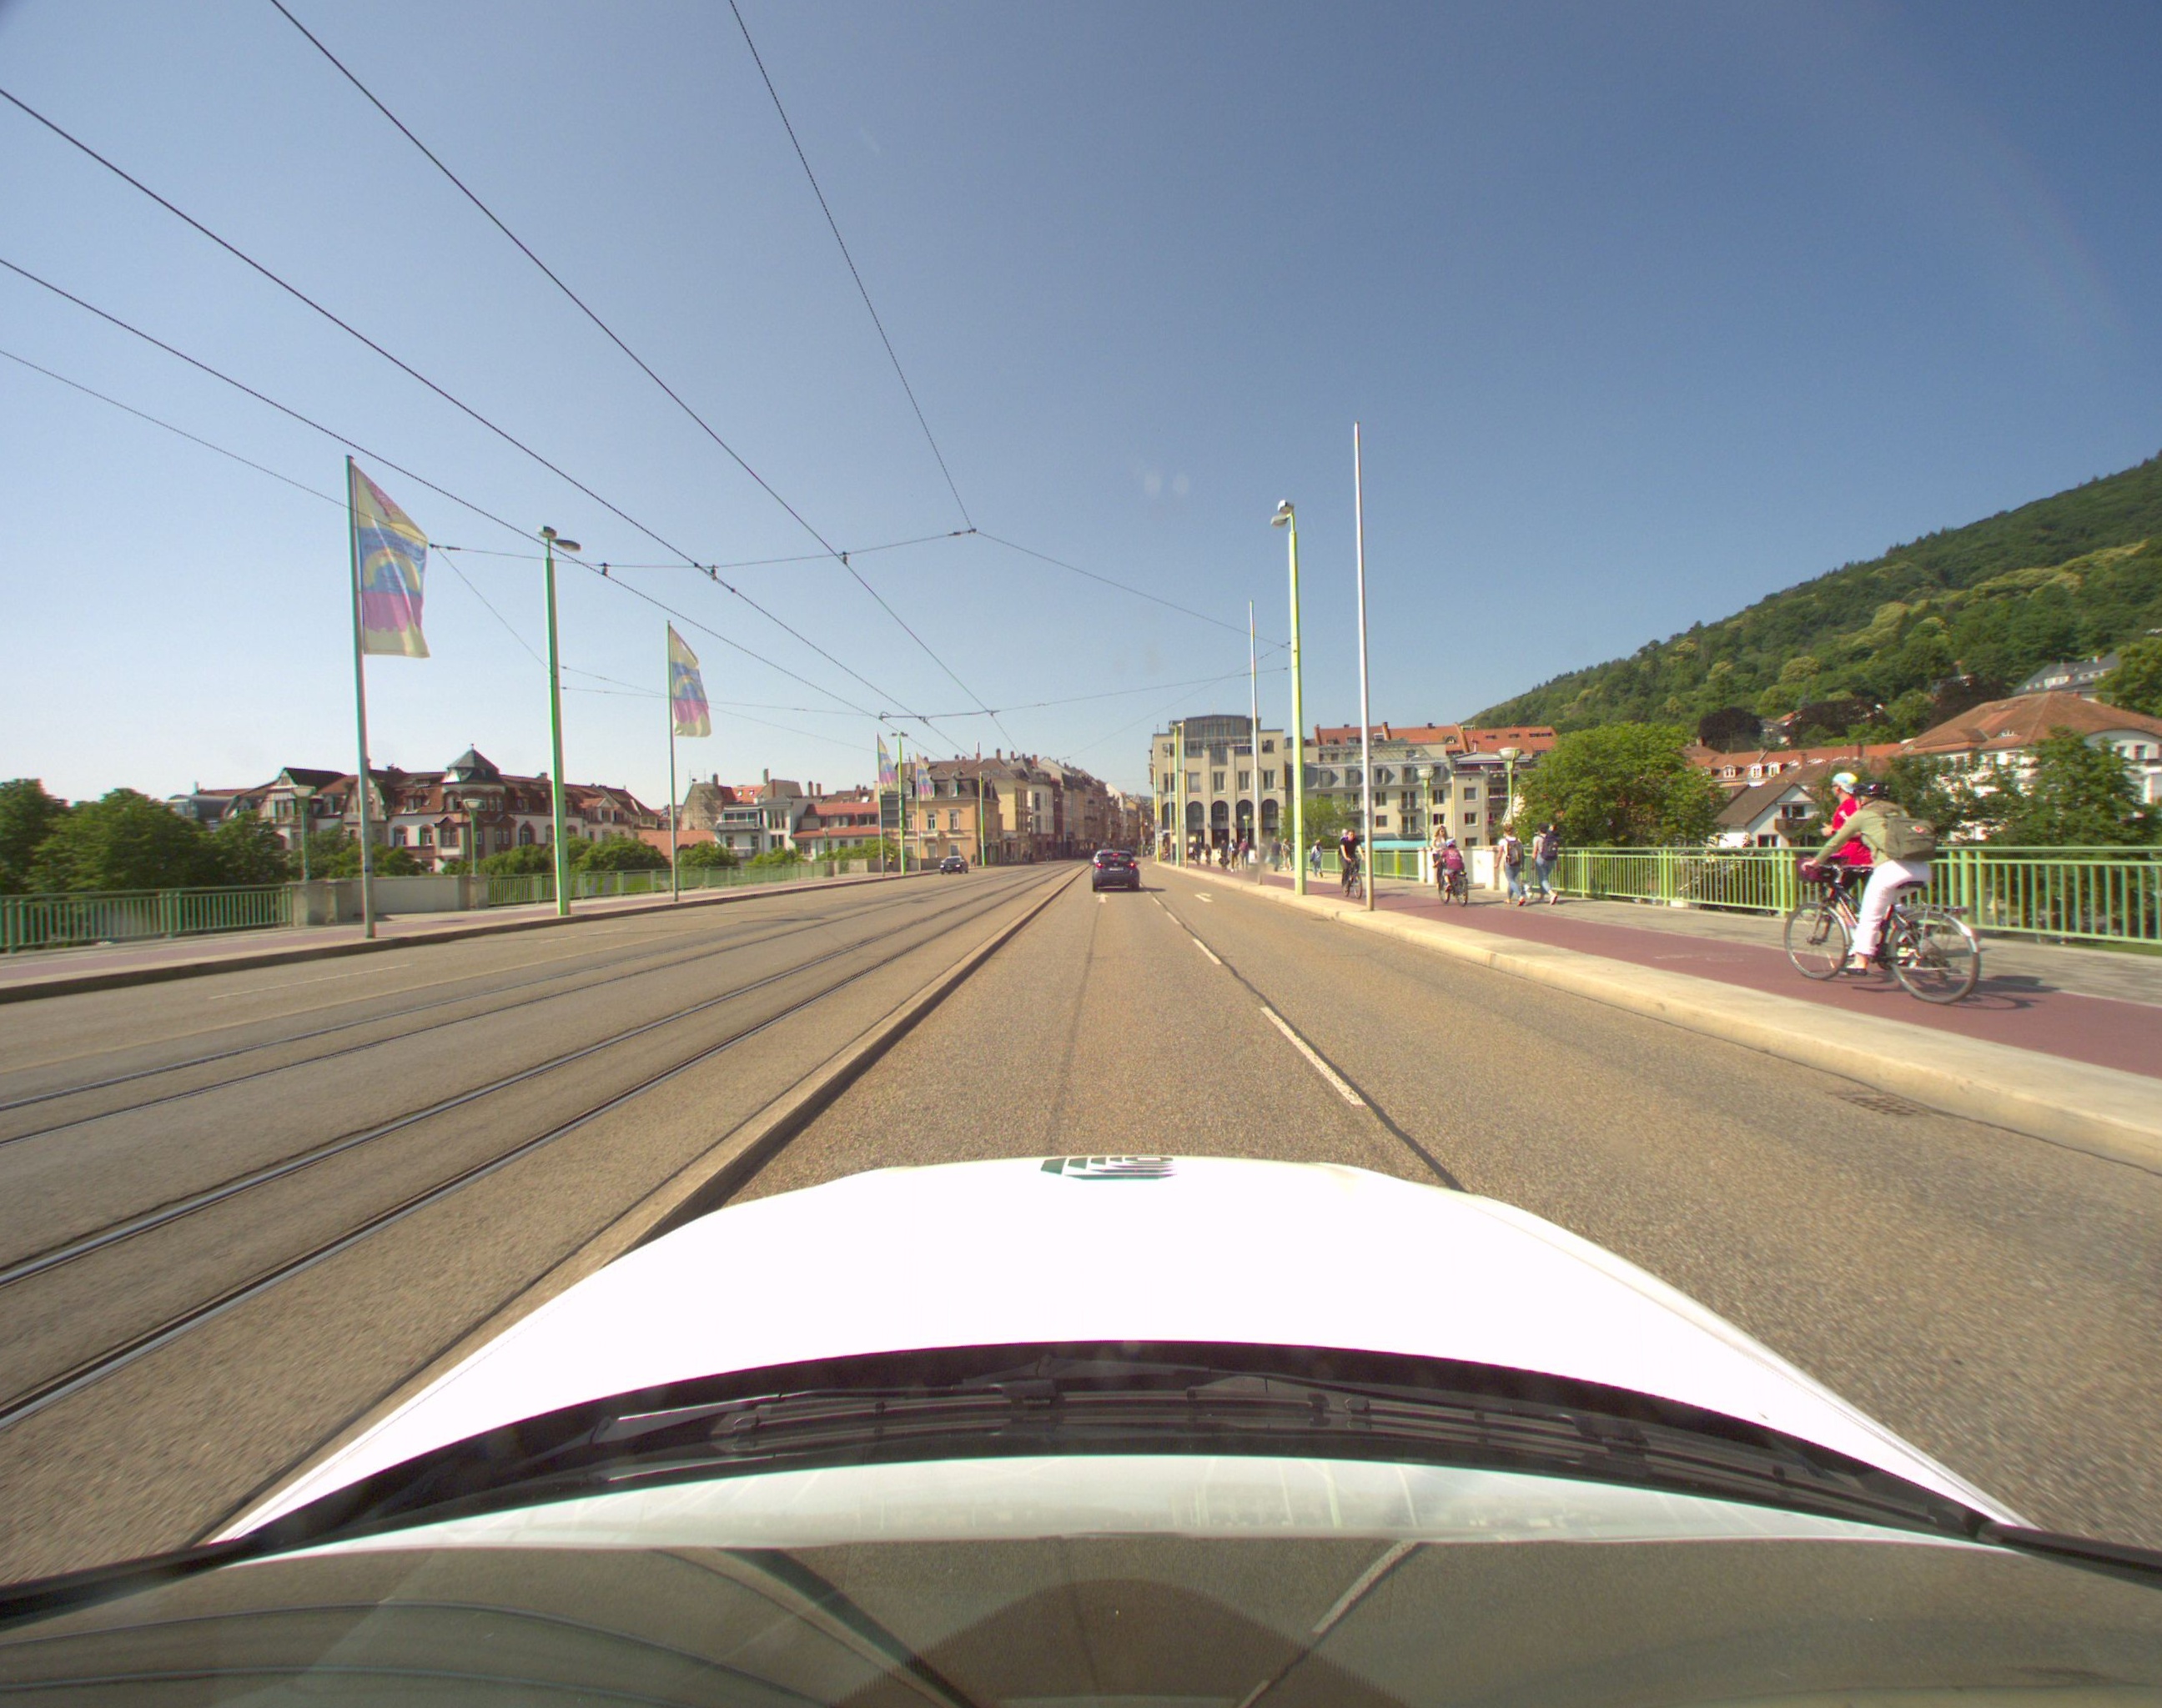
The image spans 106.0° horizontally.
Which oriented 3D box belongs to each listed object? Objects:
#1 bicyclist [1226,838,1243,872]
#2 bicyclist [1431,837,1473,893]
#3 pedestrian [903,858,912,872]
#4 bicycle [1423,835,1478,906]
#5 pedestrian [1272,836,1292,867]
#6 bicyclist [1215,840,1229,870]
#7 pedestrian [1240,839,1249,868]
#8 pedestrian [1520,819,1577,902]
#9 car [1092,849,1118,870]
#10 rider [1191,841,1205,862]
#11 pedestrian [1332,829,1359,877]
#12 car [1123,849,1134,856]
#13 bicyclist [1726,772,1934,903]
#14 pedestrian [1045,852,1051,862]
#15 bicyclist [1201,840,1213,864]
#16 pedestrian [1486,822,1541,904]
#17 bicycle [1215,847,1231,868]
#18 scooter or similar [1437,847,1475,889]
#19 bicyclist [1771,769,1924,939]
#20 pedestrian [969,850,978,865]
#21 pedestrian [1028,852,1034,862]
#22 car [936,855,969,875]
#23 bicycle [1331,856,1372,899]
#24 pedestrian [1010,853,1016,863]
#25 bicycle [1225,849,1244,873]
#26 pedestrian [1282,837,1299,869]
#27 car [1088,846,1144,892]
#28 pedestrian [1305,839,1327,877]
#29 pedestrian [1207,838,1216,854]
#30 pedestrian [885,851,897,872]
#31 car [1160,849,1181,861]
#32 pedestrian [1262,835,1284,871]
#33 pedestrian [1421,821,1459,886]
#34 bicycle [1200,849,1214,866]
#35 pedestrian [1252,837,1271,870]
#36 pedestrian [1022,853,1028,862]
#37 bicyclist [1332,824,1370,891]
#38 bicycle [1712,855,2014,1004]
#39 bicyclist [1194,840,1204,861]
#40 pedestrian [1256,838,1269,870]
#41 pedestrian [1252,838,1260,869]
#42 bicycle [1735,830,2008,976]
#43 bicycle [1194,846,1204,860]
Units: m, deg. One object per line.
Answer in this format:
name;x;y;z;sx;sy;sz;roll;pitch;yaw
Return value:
bicyclist;7.887;0.051;41.916;0.654;1.676;0.869;-2;1;0
bicyclist;7.658;0.217;16.844;0.595;1.101;0.855;-2;1;11
pedestrian;-15.905;1.016;74.618;0.570;1.304;0.544;-2;0;4
bicycle;7.657;0.304;16.961;0.531;1.367;2.223;-2;1;11
pedestrian;10.919;-0.139;44.213;0.831;1.689;0.869;-2;1;1
bicyclist;7.974;0.054;46.104;0.625;1.689;0.869;-2;1;0
pedestrian;9.402;-0.032;46.856;0.424;1.671;0.620;1;0;1
pedestrian;9.296;0.116;16.216;0.597;1.586;0.867;-2;1;0
car;1.834;0.405;63.756;1.799;1.469;3.998;-3;1;-1
rider;8.799;-0.204;61.438;0.886;1.504;0.841;-2;1;0
pedestrian;10.110;-0.052;31.132;0.710;1.810;0.848;-2;1;1
car;9.154;-0.289;157.879;1.868;1.409;4.008;-2;1;7
bicyclist;6.482;-0.141;7.128;0.733;1.030;1.175;-2;1;0
pedestrian;-5.270;0.471;130.157;0.759;1.698;0.664;-2;0;4
bicyclist;8.934;-0.167;57.805;0.713;1.676;0.869;-2;1;0
pedestrian;8.683;0.171;16.375;0.597;1.586;0.867;-2;1;0
bicycle;8.011;0.179;46.045;0.524;1.178;2.029;-1;1;0
scooter or similar;9.923;0.349;21.589;0.586;1.069;0.865;-2;1;0
bicyclist;7.841;-0.002;8.369;0.733;1.635;0.867;-2;1;0
pedestrian;-12.105;0.424;91.609;0.759;1.665;0.664;-2;0;4
pedestrian;-7.210;0.456;116.872;0.759;1.397;0.664;-2;1;4
car;-10.546;0.897;67.158;1.986;1.479;4.001;-2;1;1
bicycle;6.791;0.562;20.527;0.649;0.981;2.185;-3;0;11
pedestrian;-9.576;0.568;114.219;0.759;1.397;0.664;-2;1;4
bicycle;7.894;0.357;41.870;0.591;1.178;1.940;-2;1;0
pedestrian;11.100;-0.071;43.186;0.710;1.651;0.848;-2;1;2
car;1.261;0.513;31.071;1.904;1.540;3.999;-1;1;-1
pedestrian;9.268;0.167;32.136;0.611;1.465;0.848;-2;1;1
pedestrian;11.879;-0.738;74.066;0.654;1.451;0.644;-2;1;-1
pedestrian;-16.271;0.626;69.681;0.759;1.786;0.664;-2;0;4
car;13.628;0.140;124.274;1.787;1.469;4.025;-3;1;28
pedestrian;9.840;-0.056;41.757;0.926;1.761;0.938;-2;1;1
pedestrian;9.889;-0.021;22.467;0.640;1.756;0.867;-2;1;0
bicycle;8.945;0.235;57.830;0.664;1.178;2.029;-2;1;0
pedestrian;9.659;-0.033;43.589;0.831;1.689;0.869;-2;1;1
pedestrian;-8.092;0.503;117.575;0.759;1.397;0.664;-2;1;4
bicyclist;6.707;0.084;20.246;0.649;1.567;1.342;-3;0;11
bicycle;6.517;0.556;6.981;0.616;1.037;2.051;-2;1;0
bicyclist;9.792;-0.286;67.561;0.792;1.676;0.870;-2;1;4
pedestrian;10.016;-0.010;45.023;0.526;1.748;0.729;-2;0;1
pedestrian;10.127;-0.023;47.082;0.366;1.794;0.604;0;0;2
bicycle;7.861;0.415;8.285;0.616;1.271;2.216;-2;1;0
bicycle;9.807;-0.086;67.634;0.663;1.178;2.032;-2;1;5
